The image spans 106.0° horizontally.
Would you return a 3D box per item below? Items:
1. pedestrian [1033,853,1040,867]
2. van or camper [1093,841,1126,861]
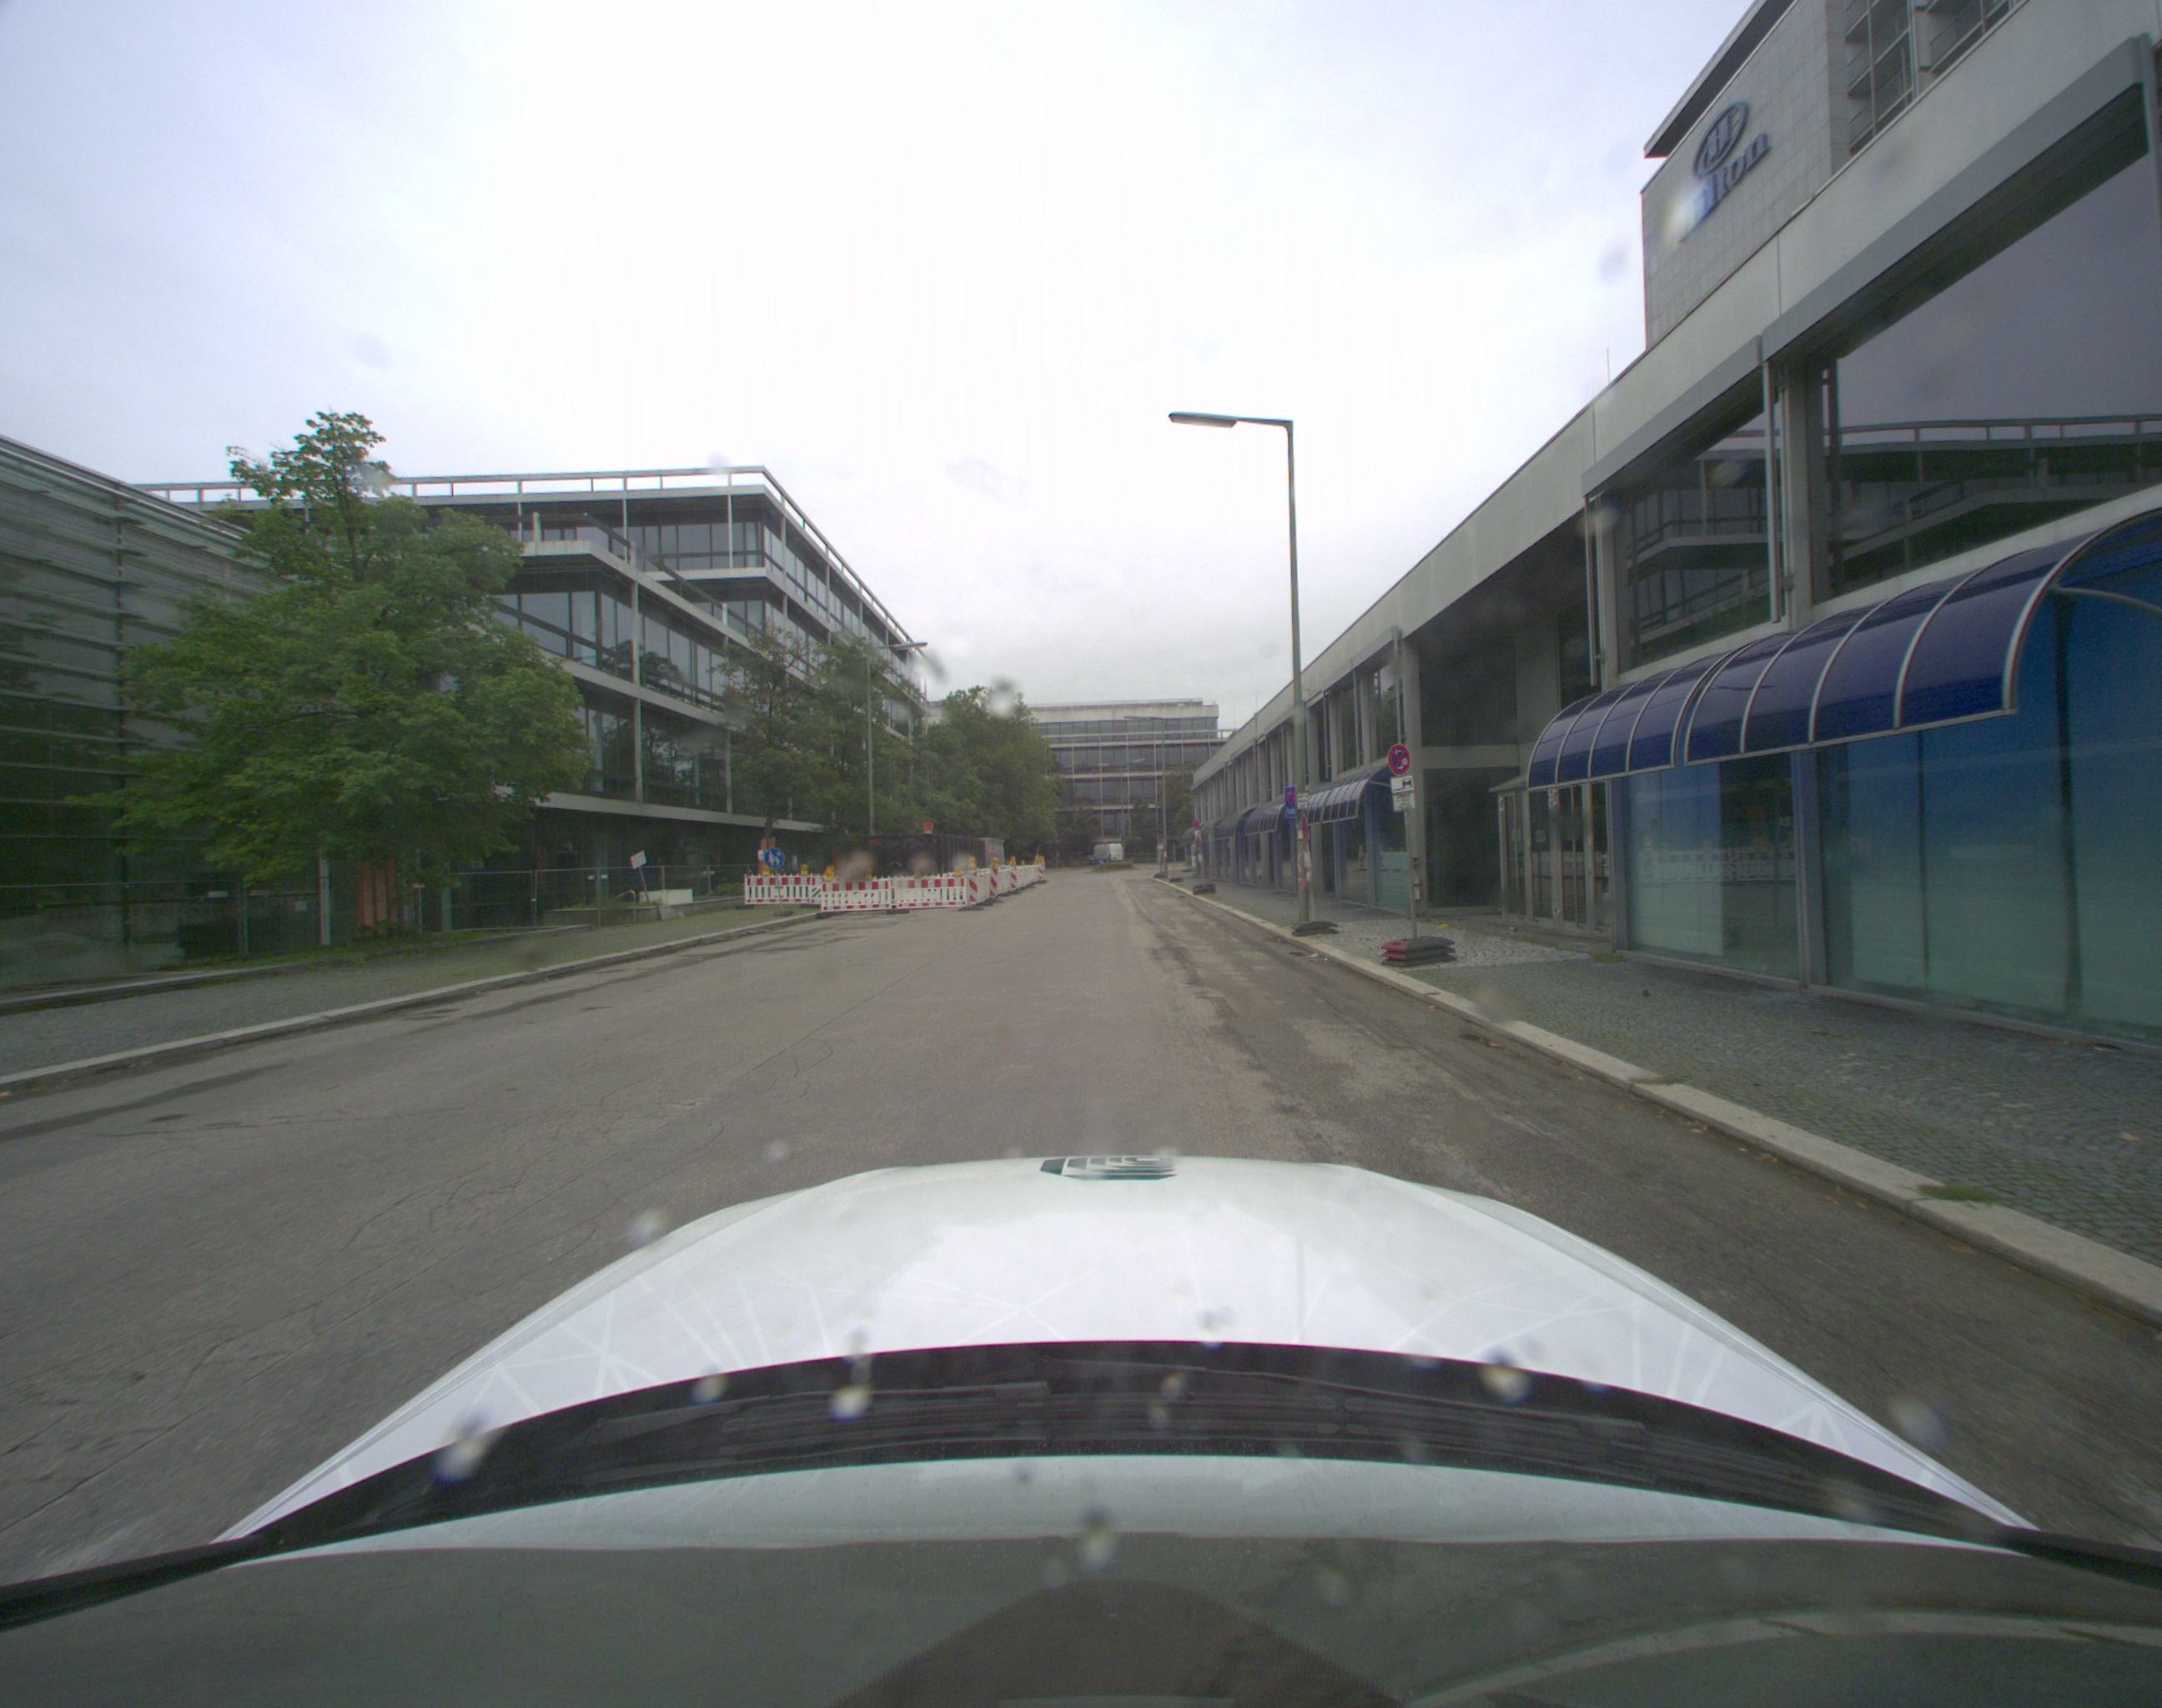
[{"bbox_3d":[-5.563,0.725,101.559,0.743,1.677,0.678,-1,0,-18],"label":"pedestrian"},{"bbox_3d":[3.566,-0.345,102.738,2.095,2.492,5.027,-2,0,-24],"label":"van or camper"}]
